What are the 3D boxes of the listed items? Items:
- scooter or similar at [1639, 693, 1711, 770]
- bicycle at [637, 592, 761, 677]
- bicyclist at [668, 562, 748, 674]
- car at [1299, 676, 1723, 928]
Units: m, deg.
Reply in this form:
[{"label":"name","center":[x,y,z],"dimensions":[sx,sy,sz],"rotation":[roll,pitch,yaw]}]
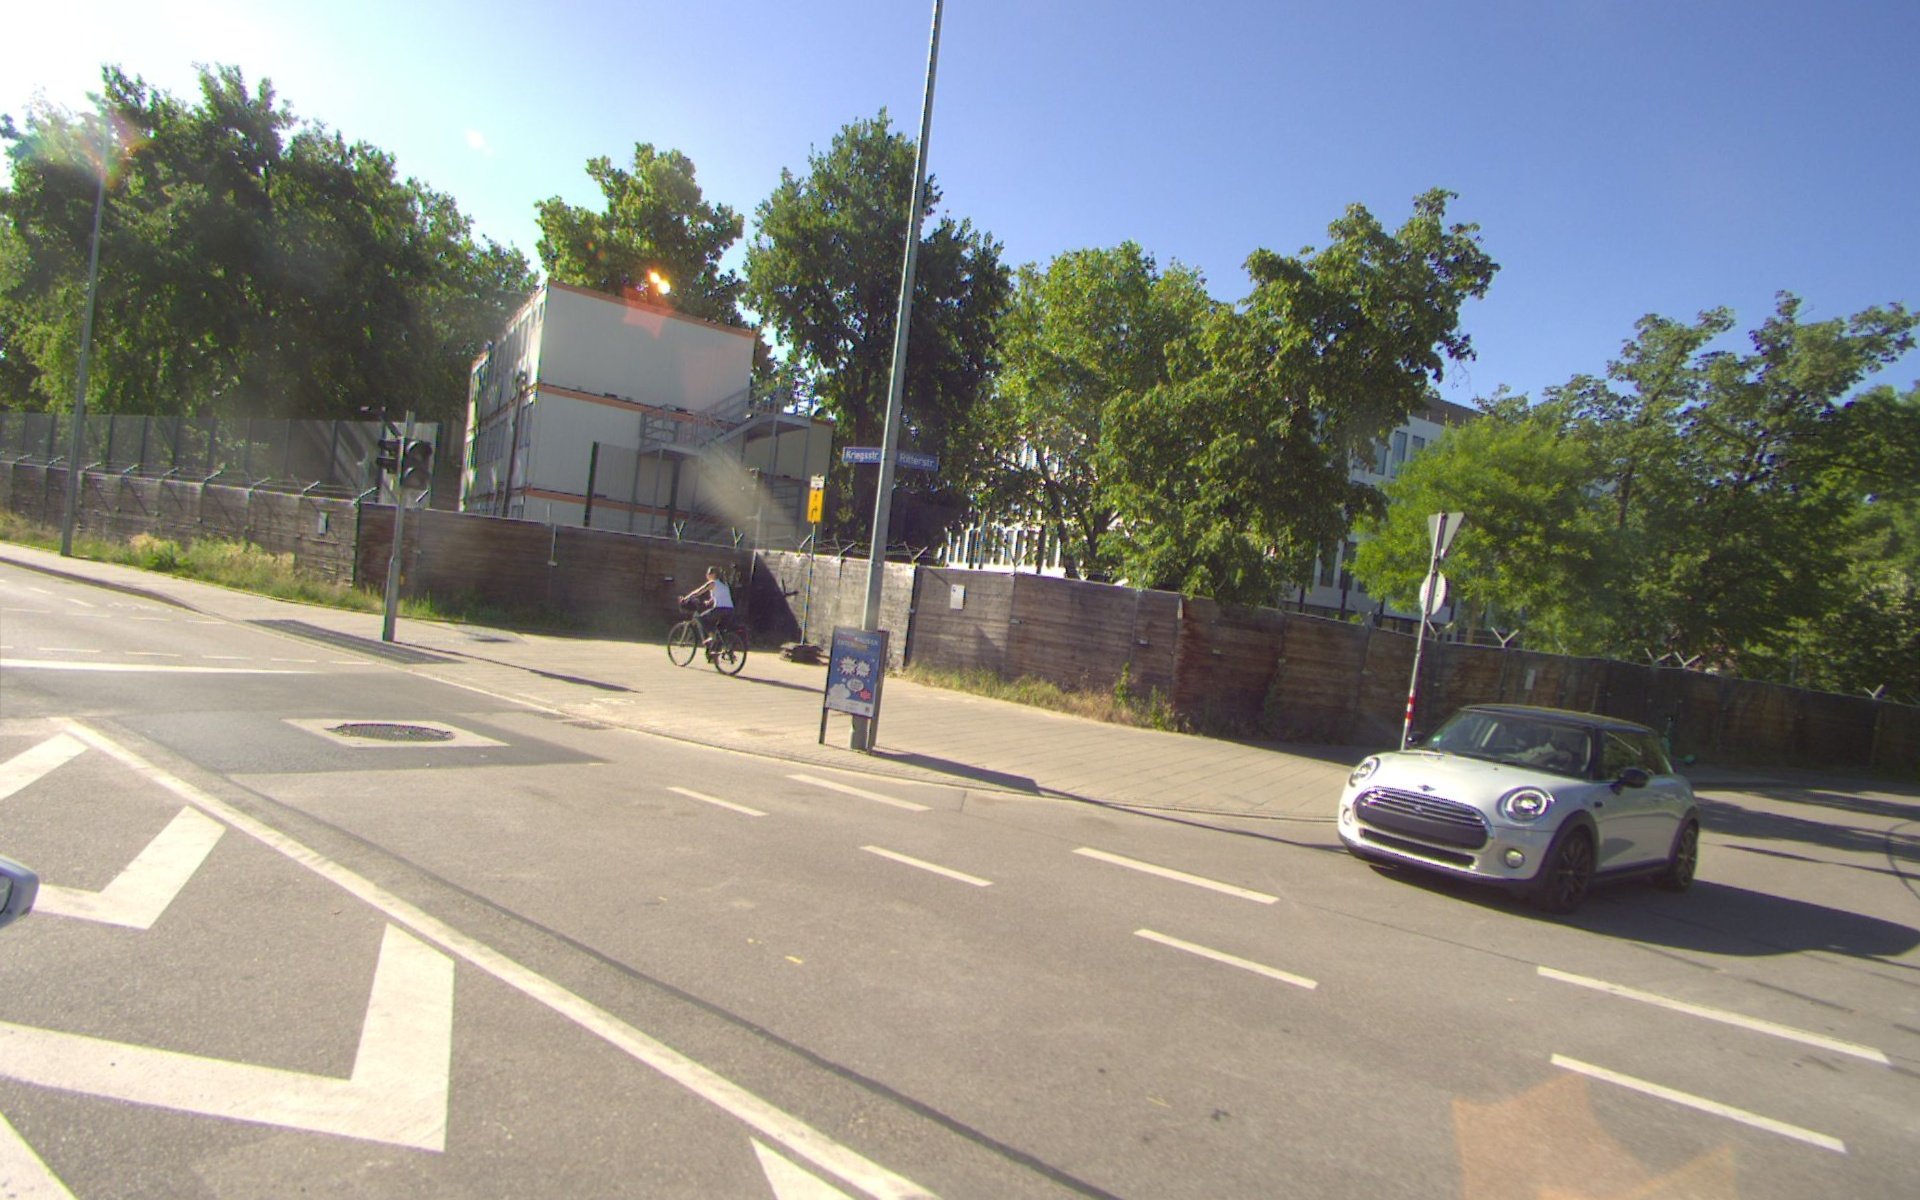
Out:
[{"label":"scooter or similar","center":[17.418,3.206,24.489],"dimensions":[2.057,1.704,0.571],"rotation":[8,0,-33]},{"label":"bicycle","center":[-4.280,0.544,16.406],"dimensions":[2.089,1.127,0.602],"rotation":[7,2,31]},{"label":"bicyclist","center":[-4.082,0.296,16.303],"dimensions":[0.838,1.695,0.742],"rotation":[7,2,31]},{"label":"car","center":[4.727,1.588,8.450],"dimensions":[3.684,1.453,1.754],"rotation":[8,-1,-39]}]
